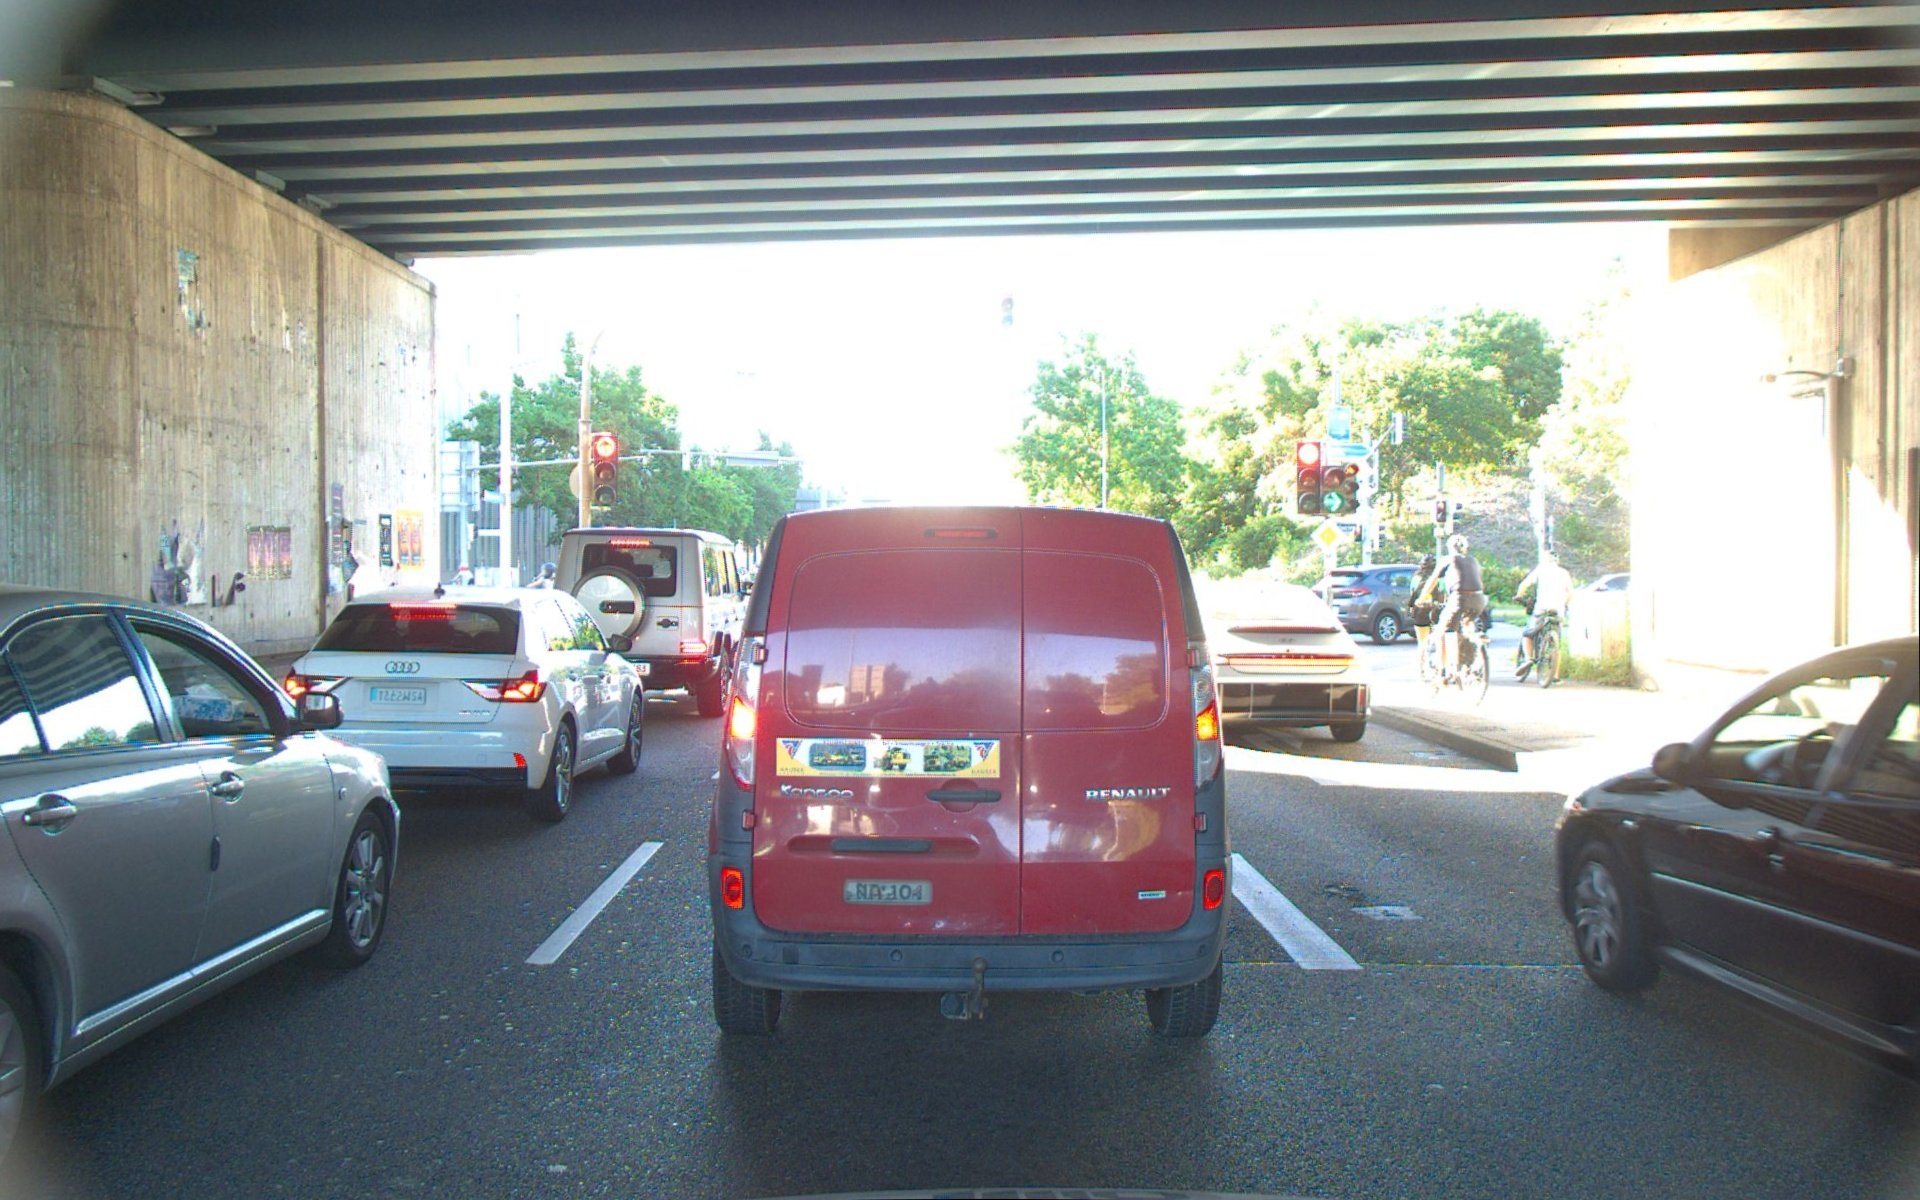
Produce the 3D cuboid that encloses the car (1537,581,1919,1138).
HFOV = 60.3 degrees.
[{"bbox_3d":[3.382,0.700,5.111,1.711,1.481,3.714,1,0,-3],"label":"car"}]

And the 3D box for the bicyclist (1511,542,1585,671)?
[{"bbox_3d":[7.410,0.084,20.865,0.656,1.589,0.735,0,0,-1],"label":"bicyclist"}]

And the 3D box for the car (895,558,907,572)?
[{"bbox_3d":[-8.928,-5.347,251.938,1.712,2.049,3.843,1,0,-1],"label":"car"}]

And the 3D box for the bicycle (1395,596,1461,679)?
[{"bbox_3d":[6.166,0.487,21.841,0.662,1.042,1.530,1,0,10],"label":"bicycle"}]

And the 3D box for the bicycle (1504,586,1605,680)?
[{"bbox_3d":[7.416,0.398,20.698,0.667,1.132,1.603,0,0,-1],"label":"bicycle"}]

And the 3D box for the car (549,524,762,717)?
[{"bbox_3d":[-3.325,0.200,18.742,1.777,1.937,3.812,1,0,-2],"label":"car"}]

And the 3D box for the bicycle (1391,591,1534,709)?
[{"bbox_3d":[5.529,0.511,18.358,0.750,1.166,2.469,-2,1,-2],"label":"bicycle"}]

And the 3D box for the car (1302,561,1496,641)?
[{"bbox_3d":[9.553,0.012,35.948,4.052,1.650,1.792,0,0,-31],"label":"car"}]

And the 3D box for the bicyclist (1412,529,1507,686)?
[{"bbox_3d":[5.520,0.081,18.311,0.731,1.684,0.886,1,0,-2],"label":"bicyclist"}]

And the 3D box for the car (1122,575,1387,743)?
[{"bbox_3d":[2.870,0.514,17.152,1.711,1.481,4.662,1,0,-3],"label":"car"}]

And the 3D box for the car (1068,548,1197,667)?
[{"bbox_3d":[3.048,0.078,28.502,1.775,1.865,4.304,1,1,11],"label":"car"}]

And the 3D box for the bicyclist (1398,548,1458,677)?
[{"bbox_3d":[6.165,0.162,21.821,0.663,1.657,0.644,1,0,10],"label":"bicyclist"}]

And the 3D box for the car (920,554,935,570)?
[{"bbox_3d":[-4.327,-5.058,220.604,1.953,2.049,3.999,1,0,-1],"label":"car"}]

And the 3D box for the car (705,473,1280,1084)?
[{"bbox_3d":[0.071,0.521,6.921,1.684,1.795,3.999,1,0,-1],"label":"car"}]

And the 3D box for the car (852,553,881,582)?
[{"bbox_3d":[-7.074,-2.455,125.622,1.953,2.049,3.999,1,0,-1],"label":"car"}]

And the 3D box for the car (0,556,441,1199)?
[{"bbox_3d":[-3.011,0.621,4.865,1.662,1.480,4.397,1,0,-2],"label":"car"}]

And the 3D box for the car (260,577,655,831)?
[{"bbox_3d":[-3.233,0.586,11.405,1.658,1.435,3.812,1,0,-2],"label":"car"}]
